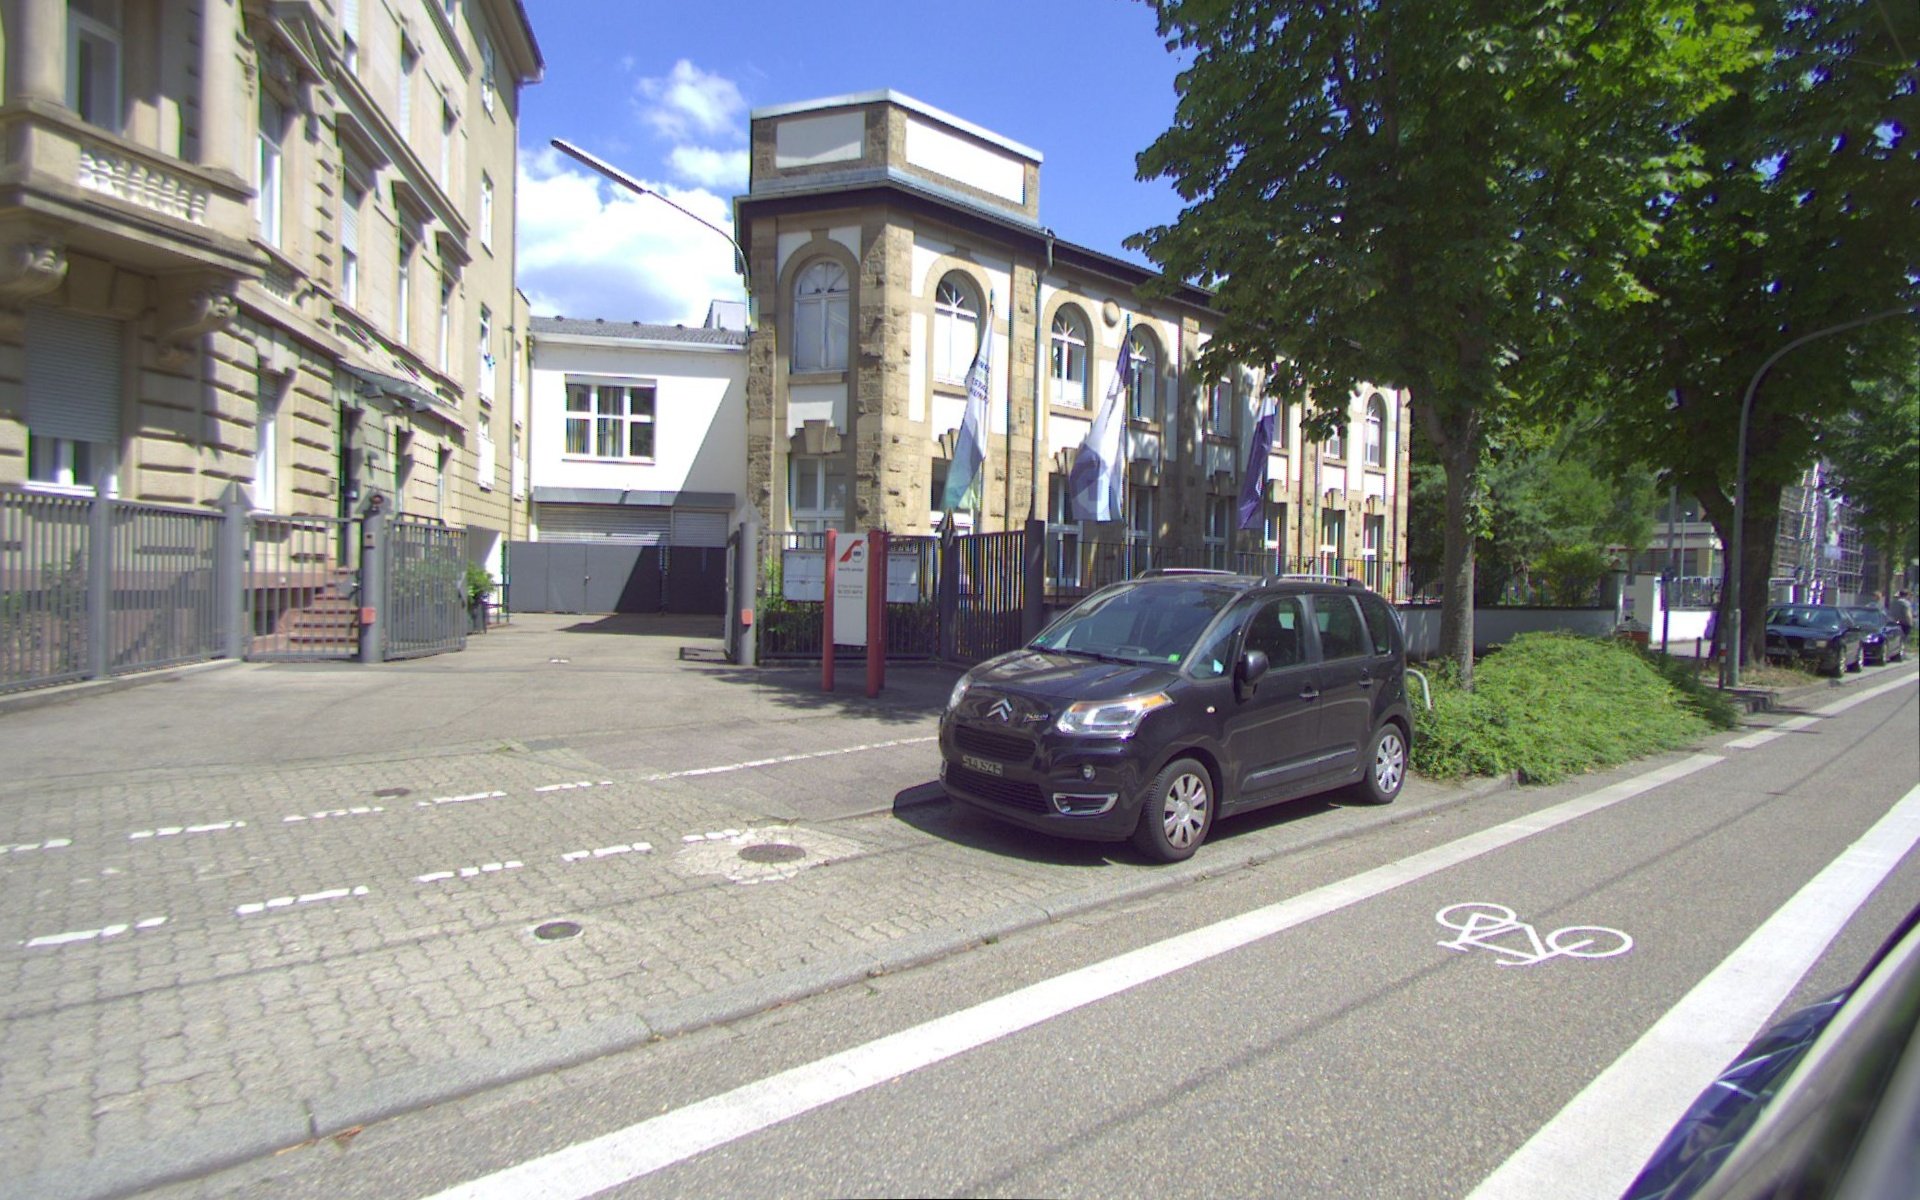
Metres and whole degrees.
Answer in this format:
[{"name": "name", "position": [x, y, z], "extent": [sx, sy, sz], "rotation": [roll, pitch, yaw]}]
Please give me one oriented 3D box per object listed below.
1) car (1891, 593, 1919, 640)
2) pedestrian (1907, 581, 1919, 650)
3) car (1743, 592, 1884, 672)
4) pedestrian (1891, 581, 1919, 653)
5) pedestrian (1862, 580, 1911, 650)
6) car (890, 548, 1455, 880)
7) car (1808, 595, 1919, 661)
[{"name": "car", "position": [32.022, 0.556, 33.235], "extent": [3.930, 1.420, 1.626], "rotation": [0, 4, -41]}, {"name": "pedestrian", "position": [26.532, 0.431, 27.658], "extent": [0.732, 1.873, 0.641], "rotation": [2, 1, 24]}, {"name": "car", "position": [17.937, 0.612, 21.231], "extent": [3.756, 1.420, 1.626], "rotation": [0, 4, -41]}, {"name": "pedestrian", "position": [25.306, 0.433, 26.815], "extent": [0.724, 1.873, 0.648], "rotation": [1, 1, -23]}, {"name": "pedestrian", "position": [25.262, 0.405, 27.591], "extent": [0.724, 1.873, 0.648], "rotation": [1, 1, -14]}, {"name": "car", "position": [1.662, 0.550, 7.092], "extent": [4.012, 1.635, 1.734], "rotation": [0, 4, -41]}, {"name": "car", "position": [22.763, 0.649, 25.374], "extent": [3.930, 1.420, 1.626], "rotation": [0, 4, -41]}]
